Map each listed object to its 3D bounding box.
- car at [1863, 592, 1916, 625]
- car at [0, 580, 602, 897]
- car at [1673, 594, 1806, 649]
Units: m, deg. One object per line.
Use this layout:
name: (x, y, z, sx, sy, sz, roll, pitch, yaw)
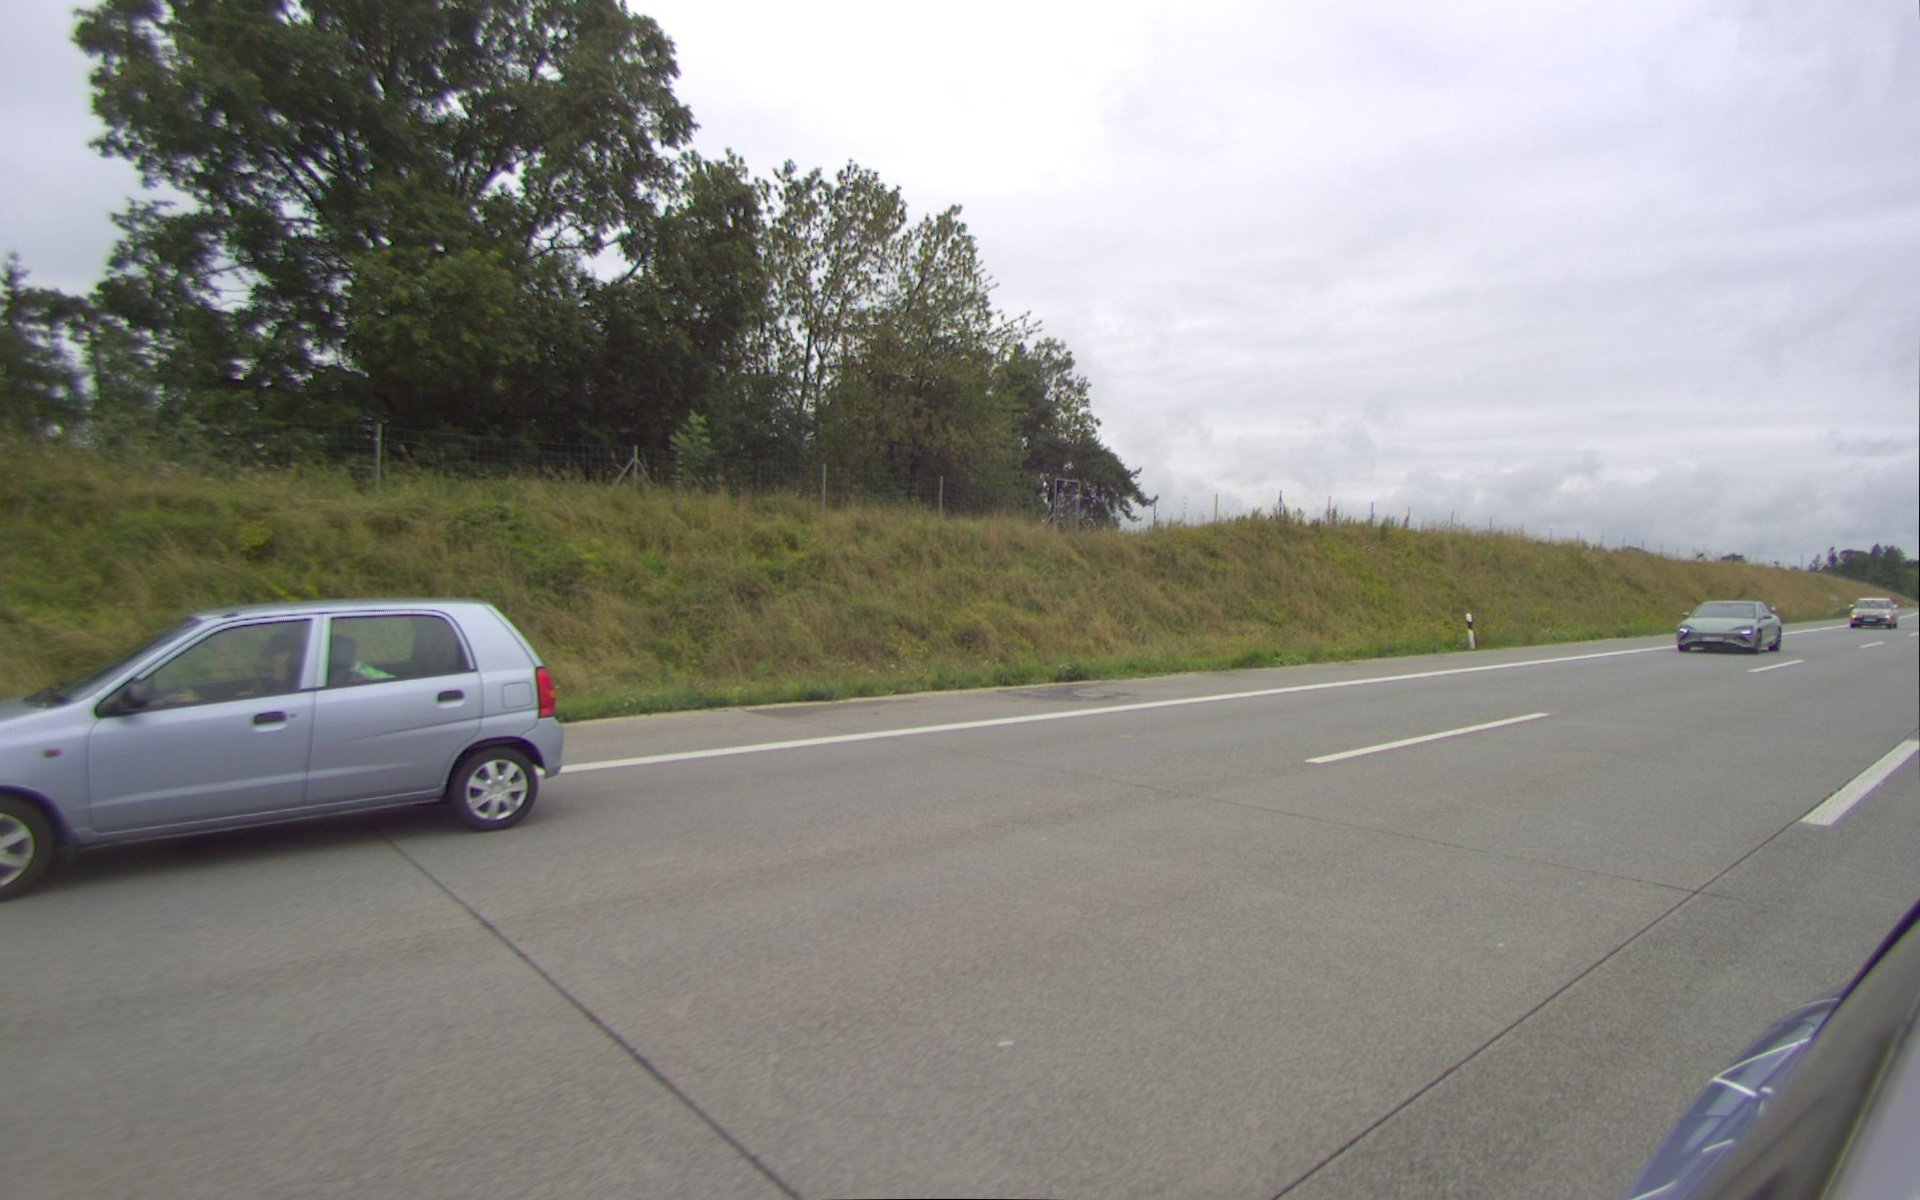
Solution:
car: (50.615, 0.488, 55.088, 4.495, 1.624, 1.787, 1, 3, -44)
car: (-4.163, 0.668, 6.119, 3.443, 1.489, 1.488, 1, 0, -41)
car: (22.727, 0.615, 29.443, 4.658, 1.464, 2.019, 1, -1, -38)
